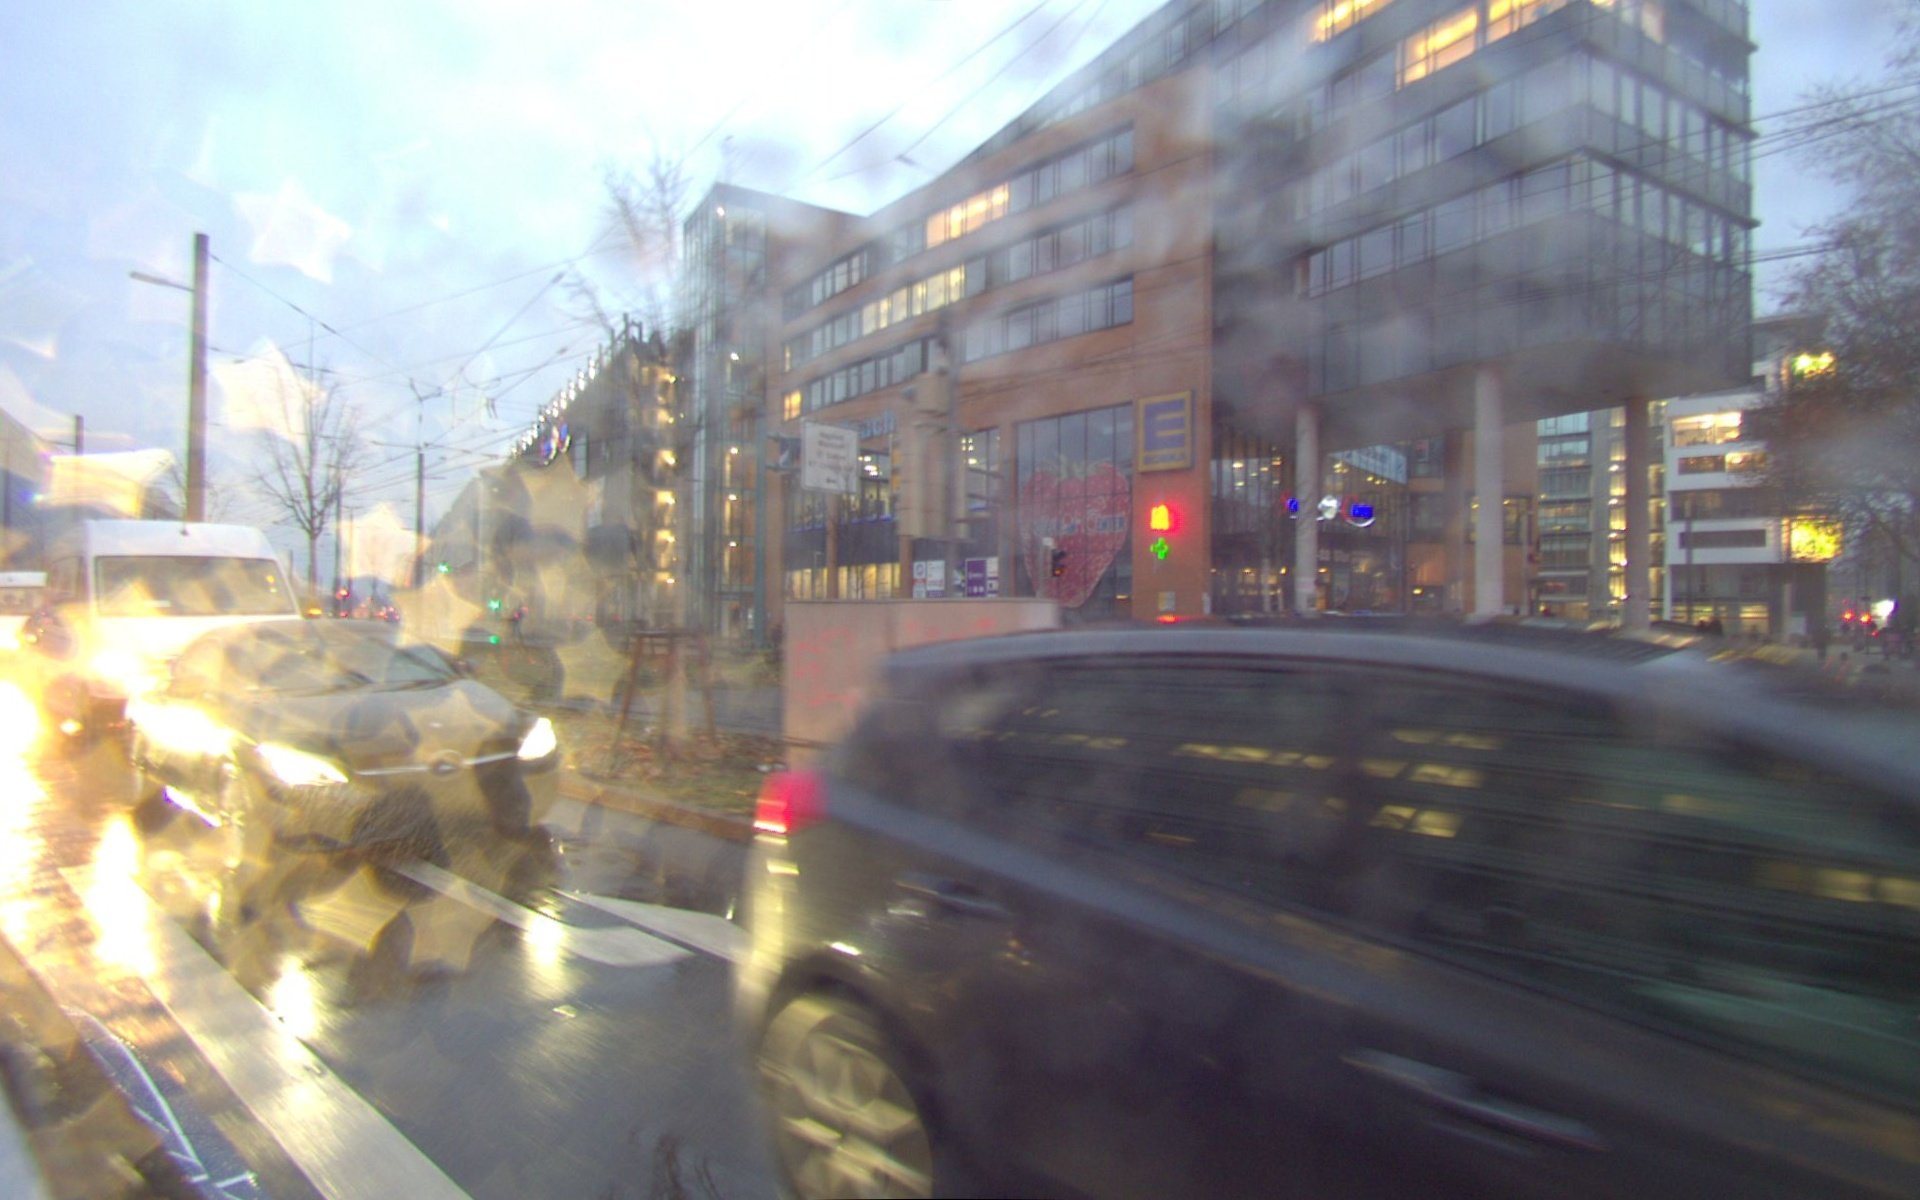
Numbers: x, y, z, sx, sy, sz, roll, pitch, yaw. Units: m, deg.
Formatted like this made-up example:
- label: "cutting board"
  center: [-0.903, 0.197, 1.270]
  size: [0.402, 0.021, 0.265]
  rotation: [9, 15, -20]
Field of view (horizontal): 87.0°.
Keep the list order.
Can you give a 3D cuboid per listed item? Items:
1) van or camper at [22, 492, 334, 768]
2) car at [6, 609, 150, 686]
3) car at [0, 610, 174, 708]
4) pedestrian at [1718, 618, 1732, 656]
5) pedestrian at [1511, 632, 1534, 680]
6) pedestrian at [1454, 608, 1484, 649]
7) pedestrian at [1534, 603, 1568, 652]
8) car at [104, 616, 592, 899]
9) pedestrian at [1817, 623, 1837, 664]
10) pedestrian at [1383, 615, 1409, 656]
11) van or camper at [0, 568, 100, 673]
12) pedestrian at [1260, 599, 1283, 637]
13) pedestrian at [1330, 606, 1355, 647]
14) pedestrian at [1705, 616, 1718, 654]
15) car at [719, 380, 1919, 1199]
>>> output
- label: "van or camper"
  center: [-9.593, 0.275, 12.164]
  size: [5.885, 2.567, 2.033]
  rotation: [0, 0, 43]
- label: "car"
  center: [-18.337, 0.908, 20.986]
  size: [3.952, 1.409, 1.800]
  rotation: [-1, 0, 42]
- label: "car"
  center: [-14.730, 0.902, 16.975]
  size: [3.952, 1.409, 1.800]
  rotation: [-1, 0, 42]
- label: "pedestrian"
  center: [35.554, 1.724, 47.050]
  size: [0.446, 1.764, 0.645]
  rotation: [-1, -2, 41]
- label: "pedestrian"
  center: [15.245, 1.510, 27.426]
  size: [0.495, 1.274, 0.440]
  rotation: [0, 0, 37]
- label: "pedestrian"
  center: [21.842, 1.220, 43.458]
  size: [0.910, 1.721, 0.696]
  rotation: [1, -2, -20]
- label: "pedestrian"
  center: [22.808, 1.066, 39.076]
  size: [0.763, 1.860, 0.924]
  rotation: [2, -2, -40]
- label: "car"
  center: [-4.466, 0.810, 7.082]
  size: [4.224, 1.342, 1.800]
  rotation: [-1, 0, 42]
- label: "pedestrian"
  center: [36.216, 1.820, 42.265]
  size: [0.560, 1.696, 0.590]
  rotation: [-1, -2, 37]
- label: "pedestrian"
  center: [16.452, 1.338, 38.213]
  size: [0.642, 1.515, 0.695]
  rotation: [2, -2, -40]
- label: "van or camper"
  center: [-23.154, 0.471, 25.281]
  size: [2.155, 2.370, 5.653]
  rotation: [-1, 0, -44]
- label: "pedestrian"
  center: [12.732, 0.735, 41.378]
  size: [0.642, 1.515, 0.695]
  rotation: [2, -2, -40]
- label: "pedestrian"
  center: [16.065, 1.109, 42.522]
  size: [0.730, 1.669, 0.695]
  rotation: [2, -2, -40]
- label: "pedestrian"
  center: [35.183, 1.617, 47.377]
  size: [0.446, 1.764, 0.645]
  rotation: [-1, -2, 41]
- label: "car"
  center: [1.349, 0.581, 1.844]
  size: [3.760, 1.585, 1.662]
  rotation: [-1, -2, 42]
